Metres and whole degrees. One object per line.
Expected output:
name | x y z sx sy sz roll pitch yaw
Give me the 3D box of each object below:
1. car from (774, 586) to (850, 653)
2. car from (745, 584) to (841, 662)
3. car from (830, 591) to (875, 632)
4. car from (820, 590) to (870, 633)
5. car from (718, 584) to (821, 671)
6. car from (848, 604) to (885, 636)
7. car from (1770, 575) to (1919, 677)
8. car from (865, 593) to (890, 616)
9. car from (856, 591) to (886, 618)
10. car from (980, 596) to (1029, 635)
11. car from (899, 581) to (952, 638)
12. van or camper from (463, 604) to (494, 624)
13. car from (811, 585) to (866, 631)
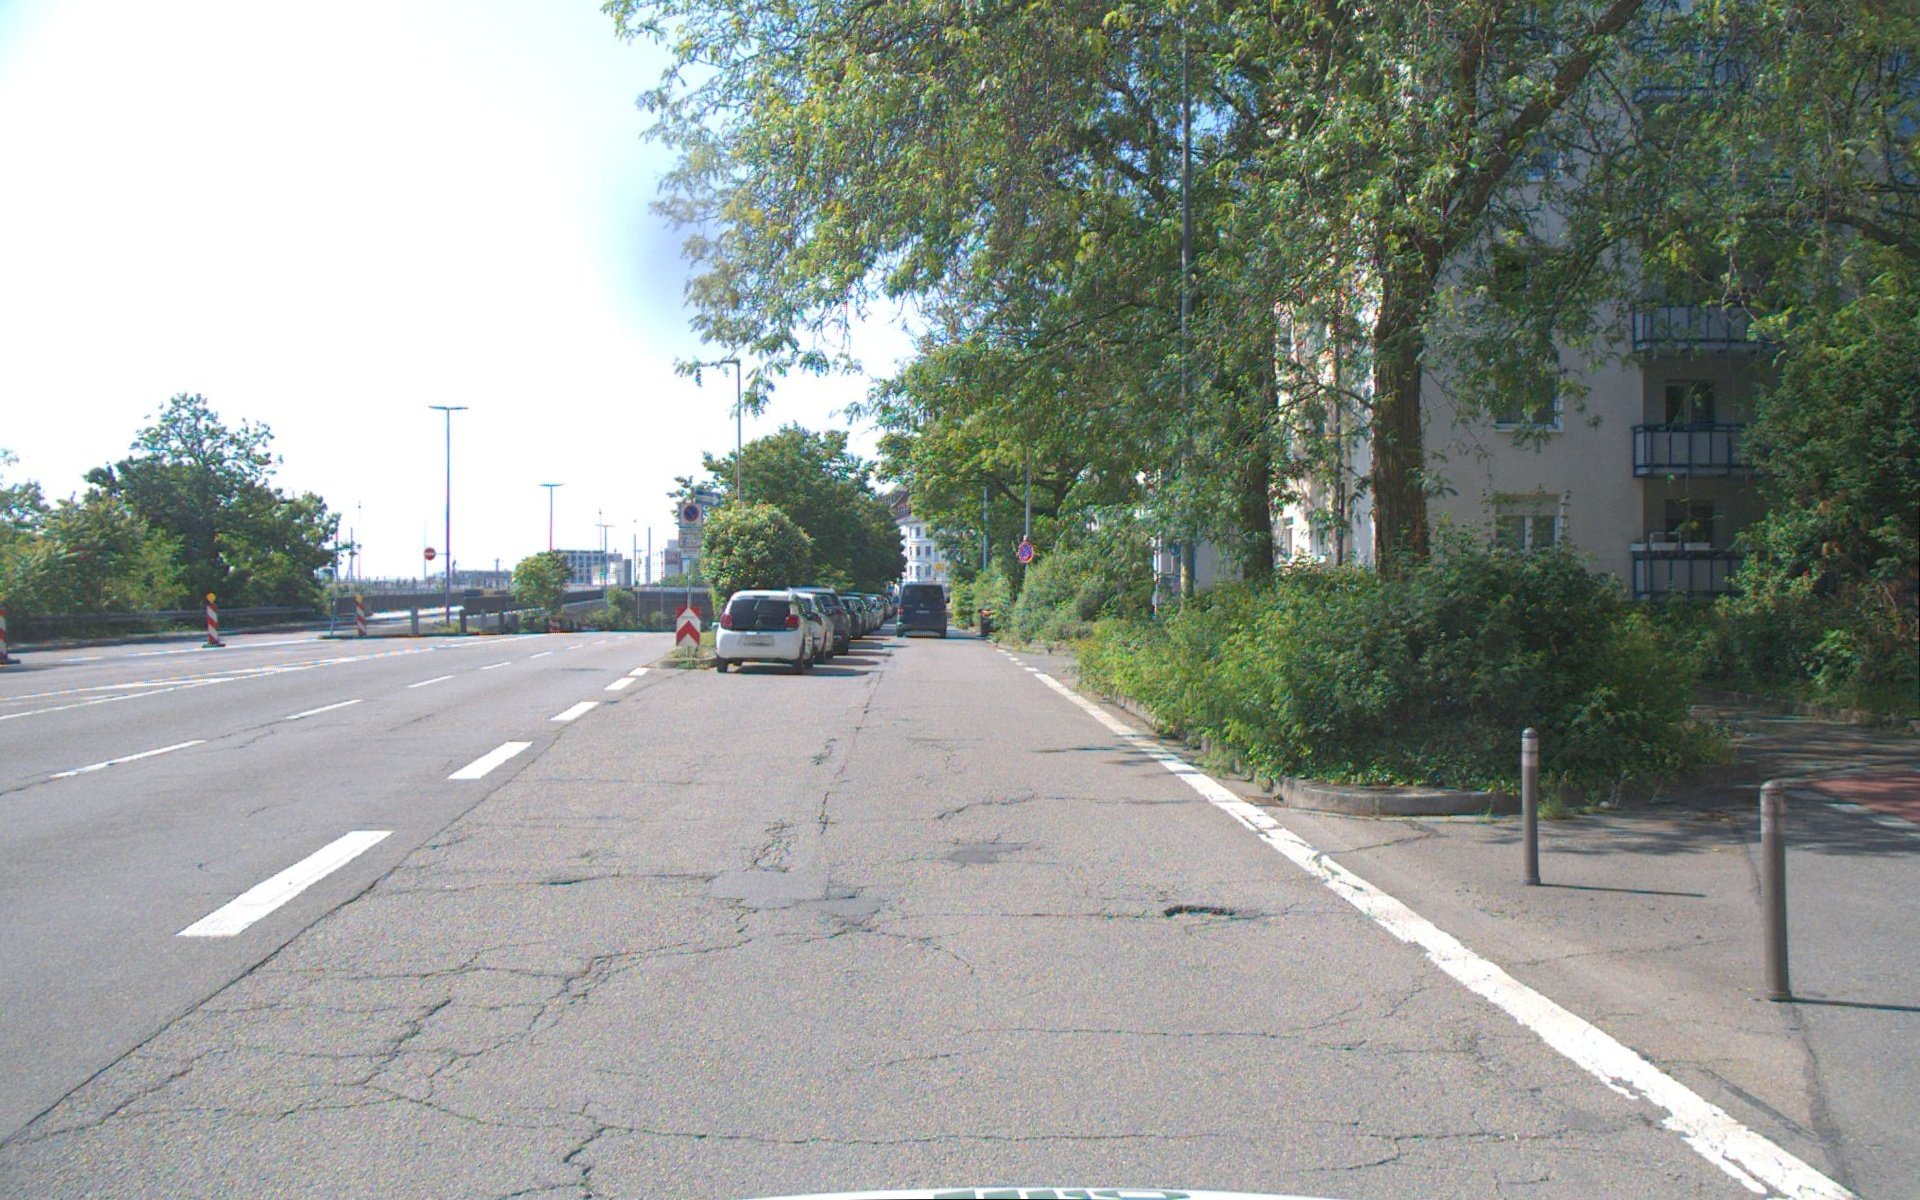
car | -3.668 0.458 41.607 1.736 1.607 4.184 0 0 -3
car | -3.590 0.479 36.125 1.686 1.531 4.131 2 0 -1
car | -4.389 0.466 67.930 1.630 1.611 3.930 0 0 -1
car | -4.368 0.428 63.224 1.630 1.538 3.788 2 0 -1
car | -3.587 0.498 31.561 1.586 1.532 3.461 1 0 -1
car | -4.710 0.979 83.330 1.630 1.494 4.200 2 0 -1
car | 15.911 0.450 28.304 3.514 1.683 1.682 0 -1 33
car | -5.775 0.310 116.212 1.630 1.536 4.007 0 0 -1
car | -5.380 0.295 100.211 1.630 1.536 4.007 2 0 -1
car | 1.713 0.591 64.677 1.692 1.445 3.999 -1 0 -2
car | -1.259 0.348 61.438 1.845 1.955 4.007 2 0 -1
van or camper | -34.580 1.003 118.866 1.439 1.373 4.623 0 0 -7
car | -4.164 0.267 57.291 1.630 1.499 3.788 2 0 -1
